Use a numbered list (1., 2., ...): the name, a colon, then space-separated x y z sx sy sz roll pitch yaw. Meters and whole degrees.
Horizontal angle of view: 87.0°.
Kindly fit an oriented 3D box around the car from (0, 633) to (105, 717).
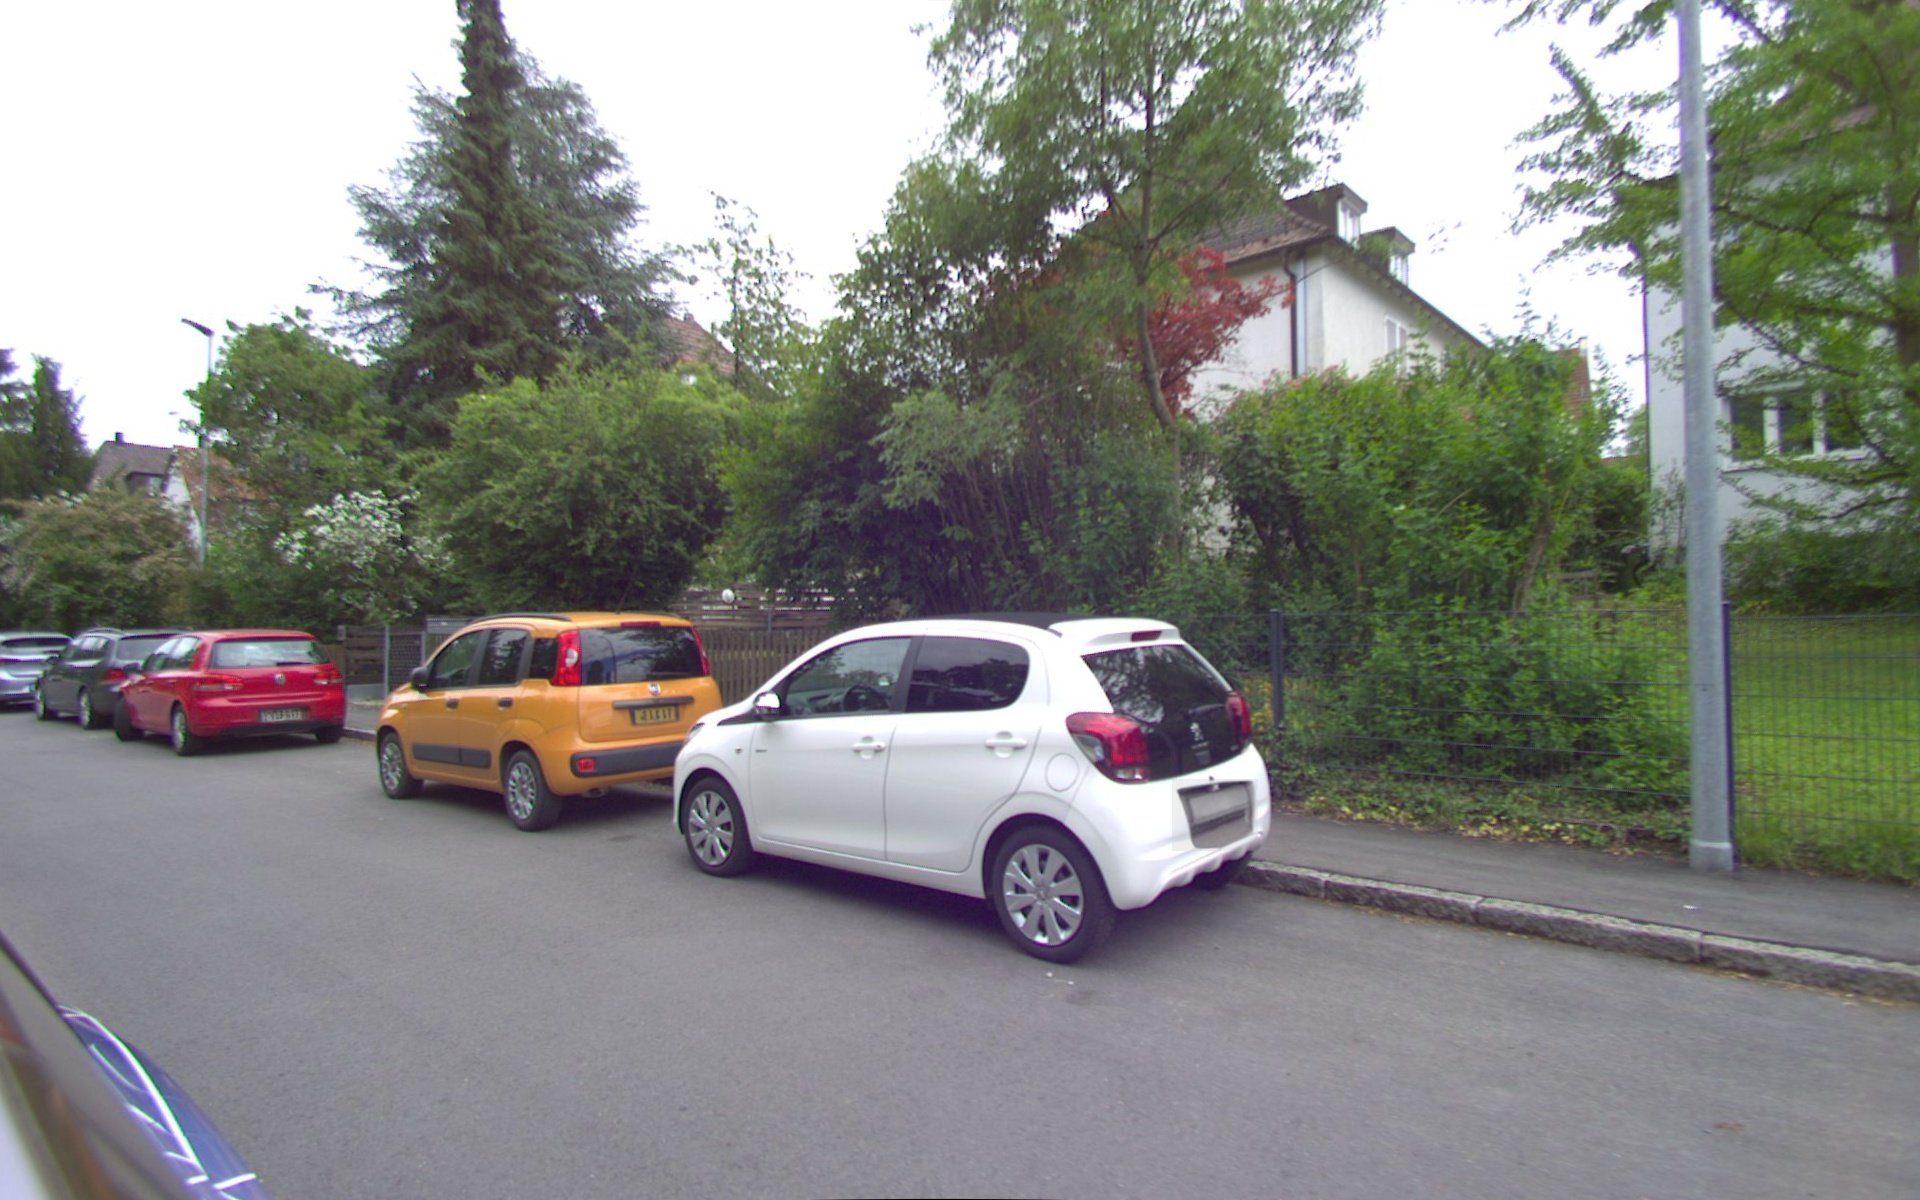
1. car: -17.924 1.355 19.062 4.149 1.421 1.693 -2 -1 34

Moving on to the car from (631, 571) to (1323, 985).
1. car: -0.105 0.697 5.508 3.588 1.526 1.572 -2 -1 40

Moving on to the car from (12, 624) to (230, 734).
1. car: -13.586 1.186 16.309 4.487 1.526 1.691 -2 -1 37

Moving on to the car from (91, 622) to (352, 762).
1. car: -9.804 1.089 13.306 4.358 1.526 1.690 -2 -1 38

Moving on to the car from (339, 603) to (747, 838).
1. car: -3.538 0.824 8.314 3.639 1.526 1.529 -2 -1 38
